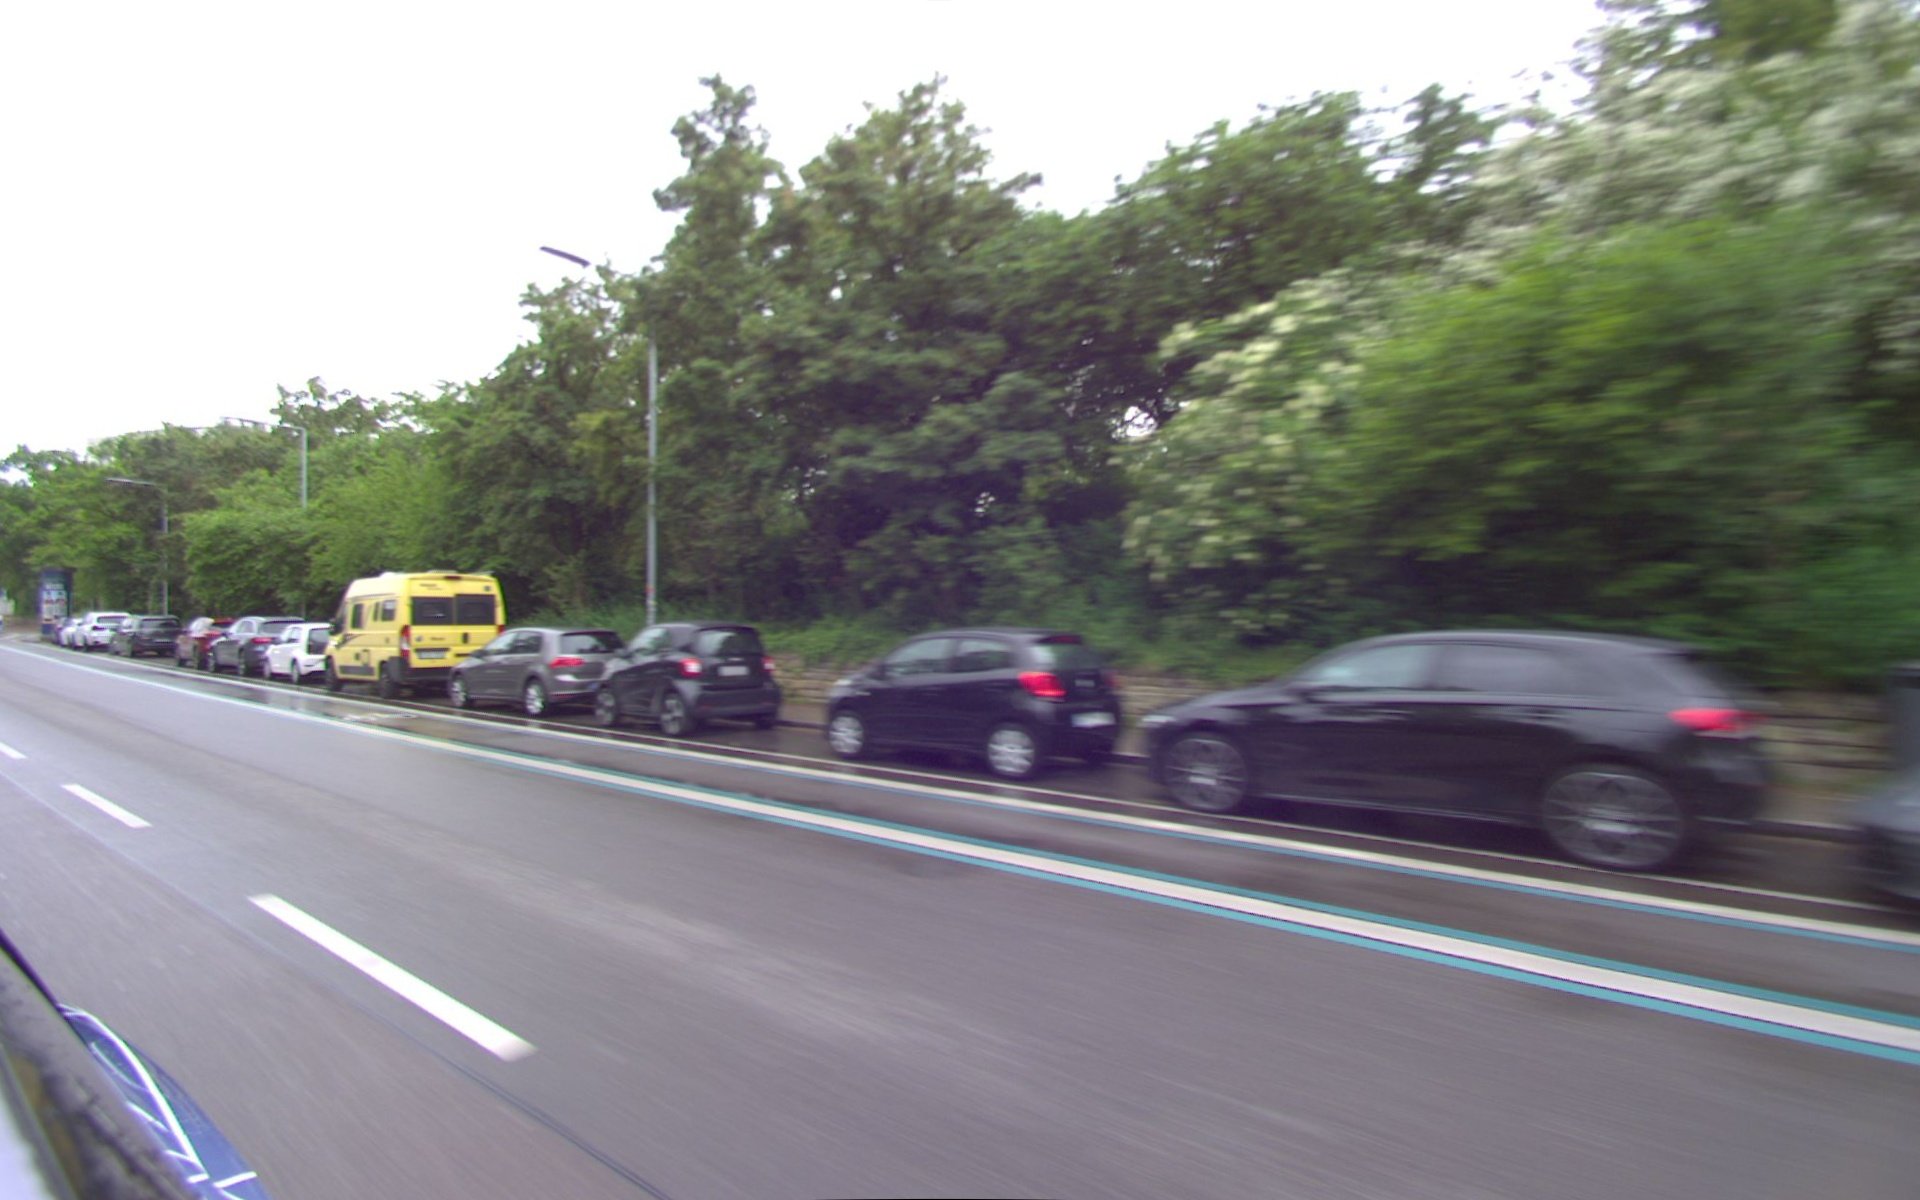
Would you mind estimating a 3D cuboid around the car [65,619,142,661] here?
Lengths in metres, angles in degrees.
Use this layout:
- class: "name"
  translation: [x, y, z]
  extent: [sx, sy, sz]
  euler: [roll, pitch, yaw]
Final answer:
- class: "car"
  translation: [-38.949, 1.766, 45.975]
  extent: [4.957, 1.779, 1.973]
  euler: [-1, -1, 41]

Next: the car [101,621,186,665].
- class: "car"
  translation: [-32.881, 1.677, 40.701]
  extent: [4.565, 1.661, 1.714]
  euler: [-1, 0, 38]

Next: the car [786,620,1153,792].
- class: "car"
  translation: [-0.039, 0.999, 11.020]
  extent: [3.976, 1.521, 1.585]
  euler: [-2, -1, 43]

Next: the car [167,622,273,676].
- class: "car"
  translation: [-24.218, 1.546, 33.062]
  extent: [4.488, 1.629, 1.898]
  euler: [-1, -2, 42]

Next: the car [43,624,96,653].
- class: "car"
  translation: [-47.352, 1.999, 53.798]
  extent: [4.588, 1.456, 1.729]
  euler: [-1, -1, 44]

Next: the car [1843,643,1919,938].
- class: "car"
  translation: [6.546, 0.880, 4.072]
  extent: [4.468, 1.314, 1.850]
  euler: [-1, -1, 41]

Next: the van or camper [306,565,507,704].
- class: "van or camper"
  translation: [-12.126, 0.720, 21.961]
  extent: [5.681, 2.647, 2.120]
  euler: [-1, -2, 43]

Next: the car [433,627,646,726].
- class: "car"
  translation: [-7.342, 1.231, 17.504]
  extent: [4.145, 1.510, 1.662]
  euler: [-1, -2, 39]

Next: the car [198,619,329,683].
- class: "car"
  translation: [-20.267, 1.411, 29.376]
  extent: [4.611, 1.713, 1.973]
  euler: [-1, -1, 40]

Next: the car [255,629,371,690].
- class: "car"
  translation: [-16.775, 1.476, 26.170]
  extent: [3.656, 1.460, 1.600]
  euler: [-1, -2, 42]

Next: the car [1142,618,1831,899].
- class: "car"
  translation: [3.650, 0.888, 7.478]
  extent: [4.138, 1.463, 1.972]
  euler: [-2, -1, 43]

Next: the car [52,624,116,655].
- class: "car"
  translation: [-43.203, 1.917, 49.857]
  extent: [4.705, 1.471, 1.701]
  euler: [-1, -1, 41]

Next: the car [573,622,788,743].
- class: "car"
  translation: [-4.076, 1.095, 14.589]
  extent: [3.138, 1.521, 1.585]
  euler: [-2, -1, 43]
